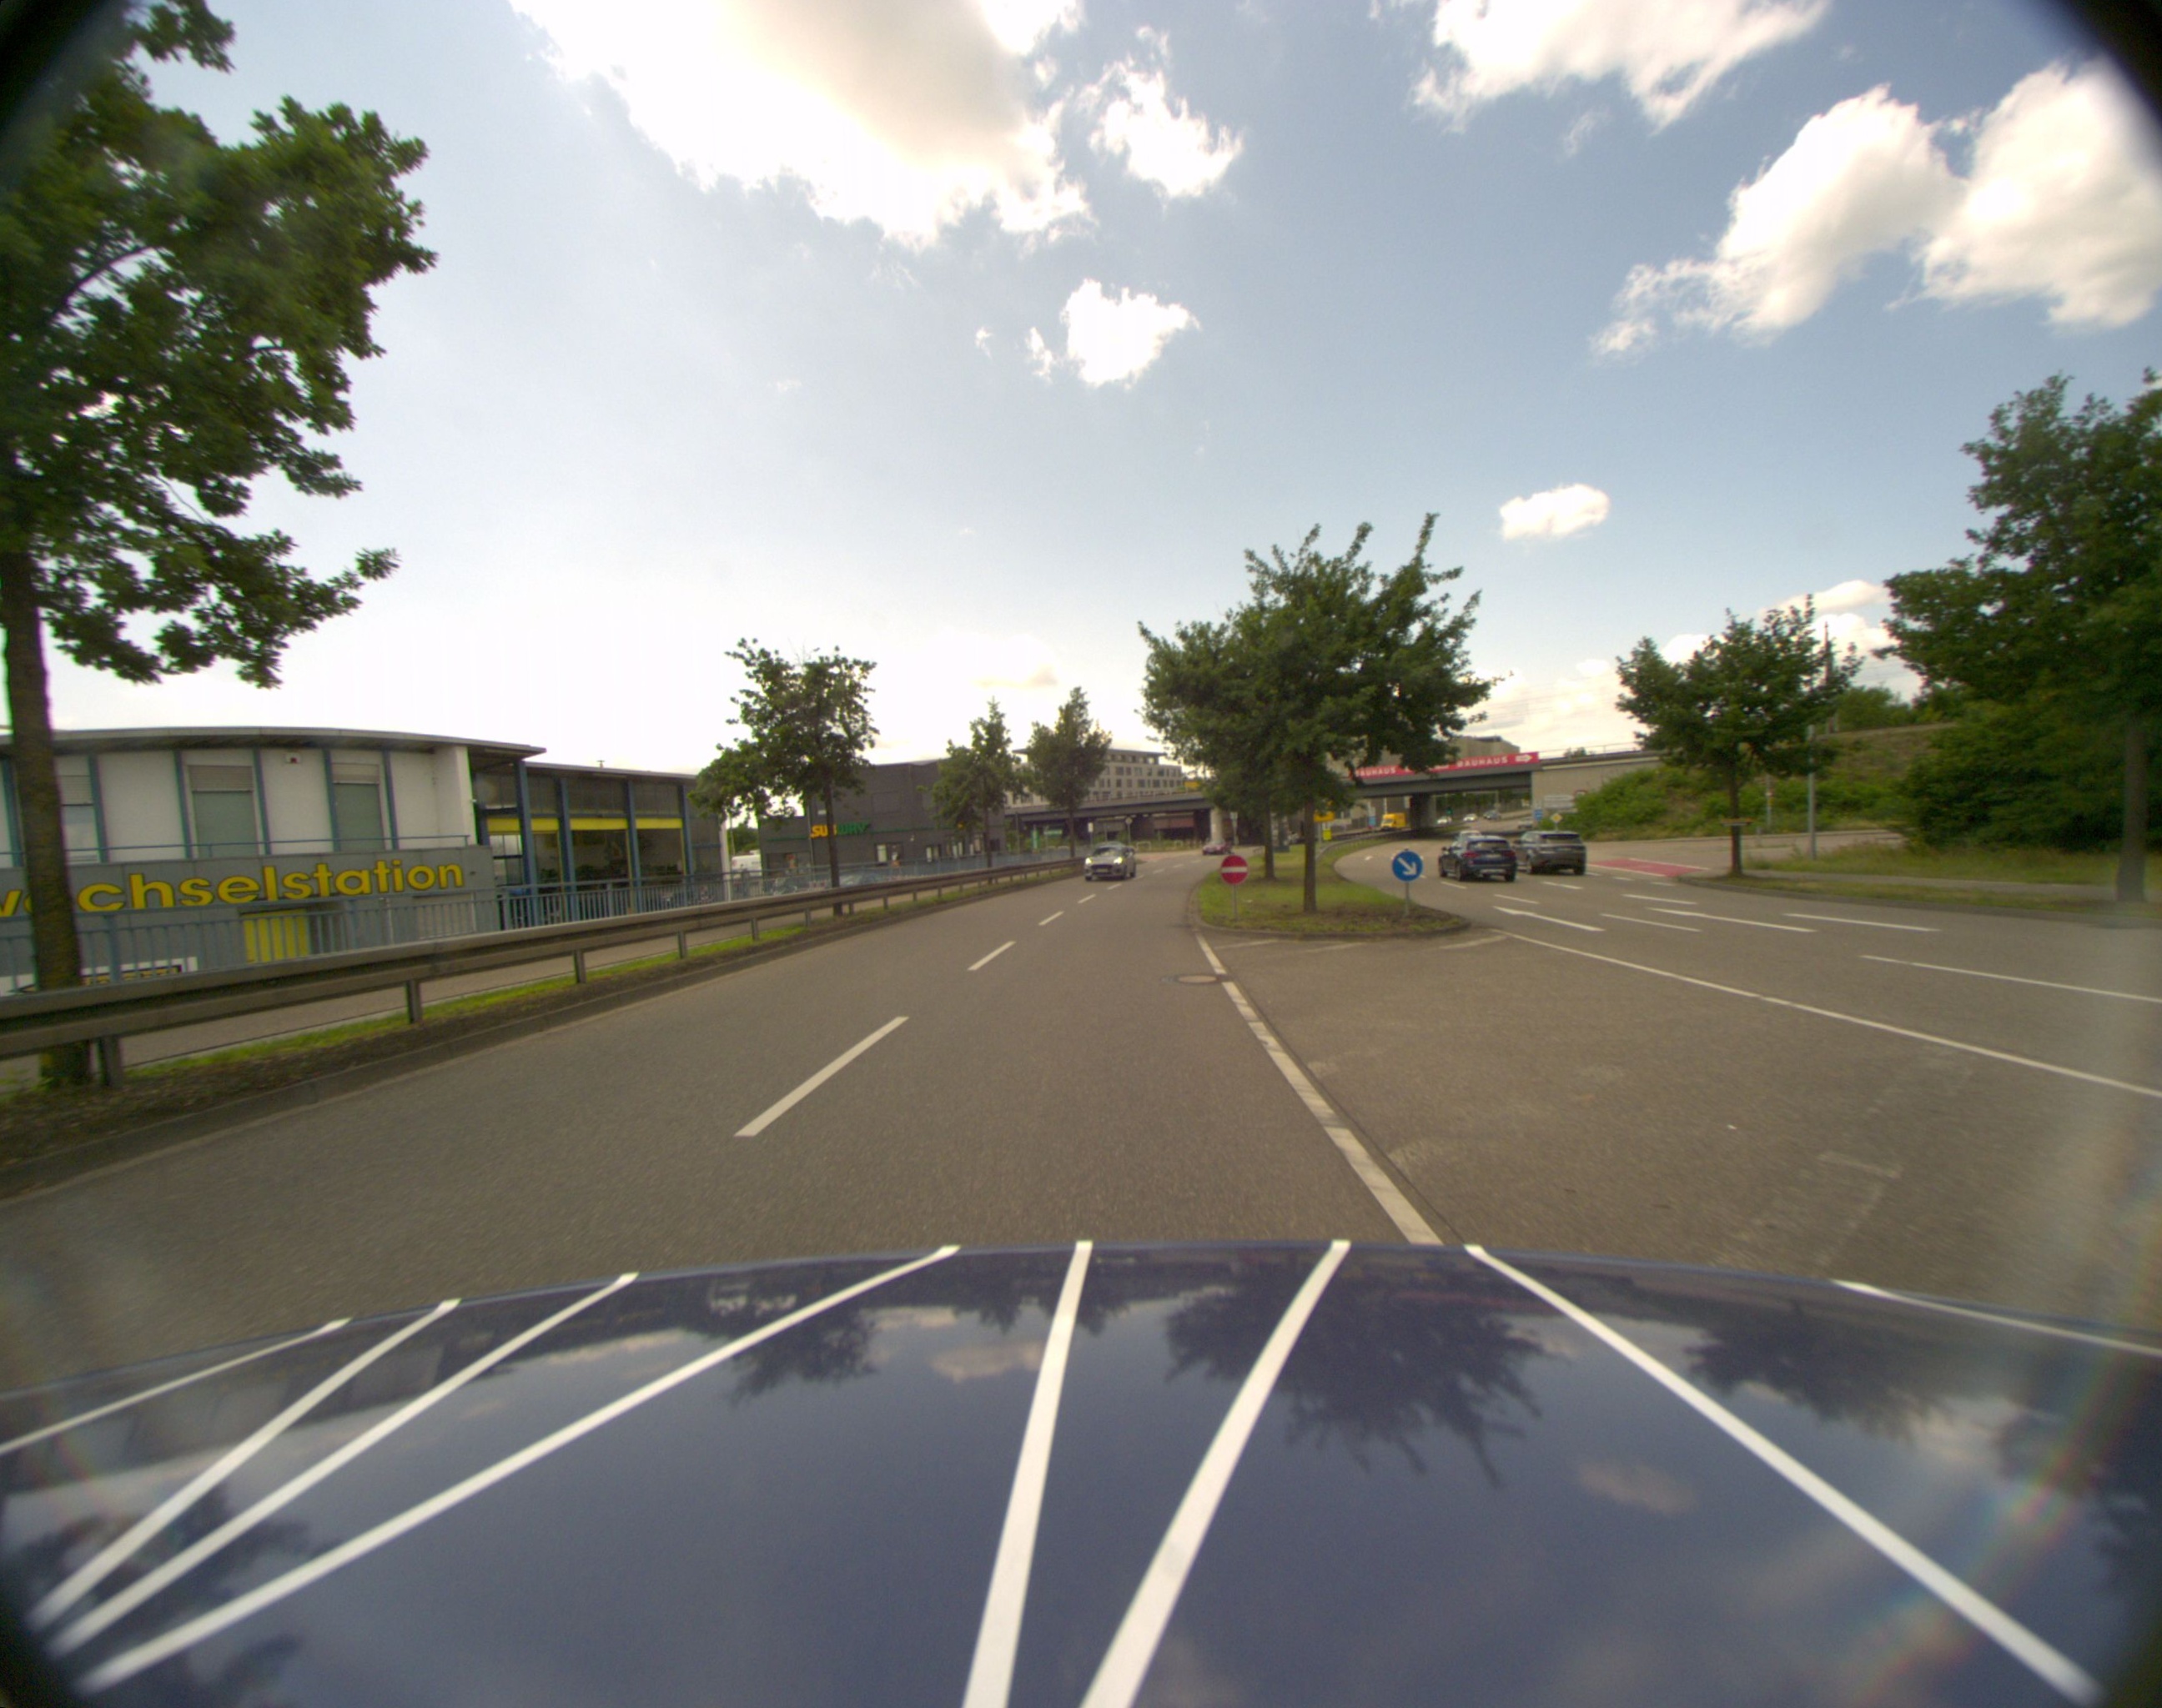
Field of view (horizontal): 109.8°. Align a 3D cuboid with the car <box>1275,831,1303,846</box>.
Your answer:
[{"bbox_3d":[23.823,-1.772,86.866,1.710,1.488,3.656,-1,3,38],"label":"car"}]

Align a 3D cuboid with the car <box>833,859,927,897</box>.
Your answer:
[{"bbox_3d":[-8.896,1.023,34.071,1.996,1.351,4.753,-2,1,13],"label":"car"}]

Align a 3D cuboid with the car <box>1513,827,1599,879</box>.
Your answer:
[{"bbox_3d":[19.554,-0.106,31.486,1.996,1.851,4.720,-2,2,20],"label":"car"}]

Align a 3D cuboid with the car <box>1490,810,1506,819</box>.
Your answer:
[{"bbox_3d":[80.687,-7.671,147.039,1.995,1.407,4.839,-3,2,38],"label":"car"}]

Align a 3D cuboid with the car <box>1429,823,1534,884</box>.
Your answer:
[{"bbox_3d":[14.852,0.001,28.498,1.997,2.002,4.821,-3,0,10],"label":"car"}]

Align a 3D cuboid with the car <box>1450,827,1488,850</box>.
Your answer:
[{"bbox_3d":[29.084,-1.185,57.111,1.995,1.524,4.336,0,3,20],"label":"car"}]

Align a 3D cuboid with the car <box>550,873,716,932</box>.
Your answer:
[{"bbox_3d":[-18.886,2.030,32.178,5.813,2.003,2.233,-3,3,9],"label":"car"}]

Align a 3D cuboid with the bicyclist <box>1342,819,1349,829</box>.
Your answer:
[{"bbox_3d":[44.778,-5.088,128.681,0.715,1.759,0.990,-1,4,35],"label":"bicyclist"}]

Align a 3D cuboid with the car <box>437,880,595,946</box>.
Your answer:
[{"bbox_3d":[-21.968,2.287,29.640,4.780,2.002,2.234,-5,1,13],"label":"car"}]

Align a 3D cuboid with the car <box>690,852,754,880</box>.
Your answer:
[{"bbox_3d":[-18.482,0.606,39.051,2.003,1.278,4.367,-4,2,-38],"label":"car"}]

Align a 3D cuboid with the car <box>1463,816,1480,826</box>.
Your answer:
[{"bbox_3d":[74.495,-6.306,144.884,1.917,1.406,4.302,-6,0,38],"label":"car"}]

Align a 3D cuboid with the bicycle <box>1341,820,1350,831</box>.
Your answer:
[{"bbox_3d":[44.888,-4.770,128.832,0.720,1.764,2.537,-1,4,35],"label":"bicycle"}]

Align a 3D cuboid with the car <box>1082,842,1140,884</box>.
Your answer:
[{"bbox_3d":[1.440,0.354,34.490,1.822,1.565,3.956,-5,1,13],"label":"car"}]
